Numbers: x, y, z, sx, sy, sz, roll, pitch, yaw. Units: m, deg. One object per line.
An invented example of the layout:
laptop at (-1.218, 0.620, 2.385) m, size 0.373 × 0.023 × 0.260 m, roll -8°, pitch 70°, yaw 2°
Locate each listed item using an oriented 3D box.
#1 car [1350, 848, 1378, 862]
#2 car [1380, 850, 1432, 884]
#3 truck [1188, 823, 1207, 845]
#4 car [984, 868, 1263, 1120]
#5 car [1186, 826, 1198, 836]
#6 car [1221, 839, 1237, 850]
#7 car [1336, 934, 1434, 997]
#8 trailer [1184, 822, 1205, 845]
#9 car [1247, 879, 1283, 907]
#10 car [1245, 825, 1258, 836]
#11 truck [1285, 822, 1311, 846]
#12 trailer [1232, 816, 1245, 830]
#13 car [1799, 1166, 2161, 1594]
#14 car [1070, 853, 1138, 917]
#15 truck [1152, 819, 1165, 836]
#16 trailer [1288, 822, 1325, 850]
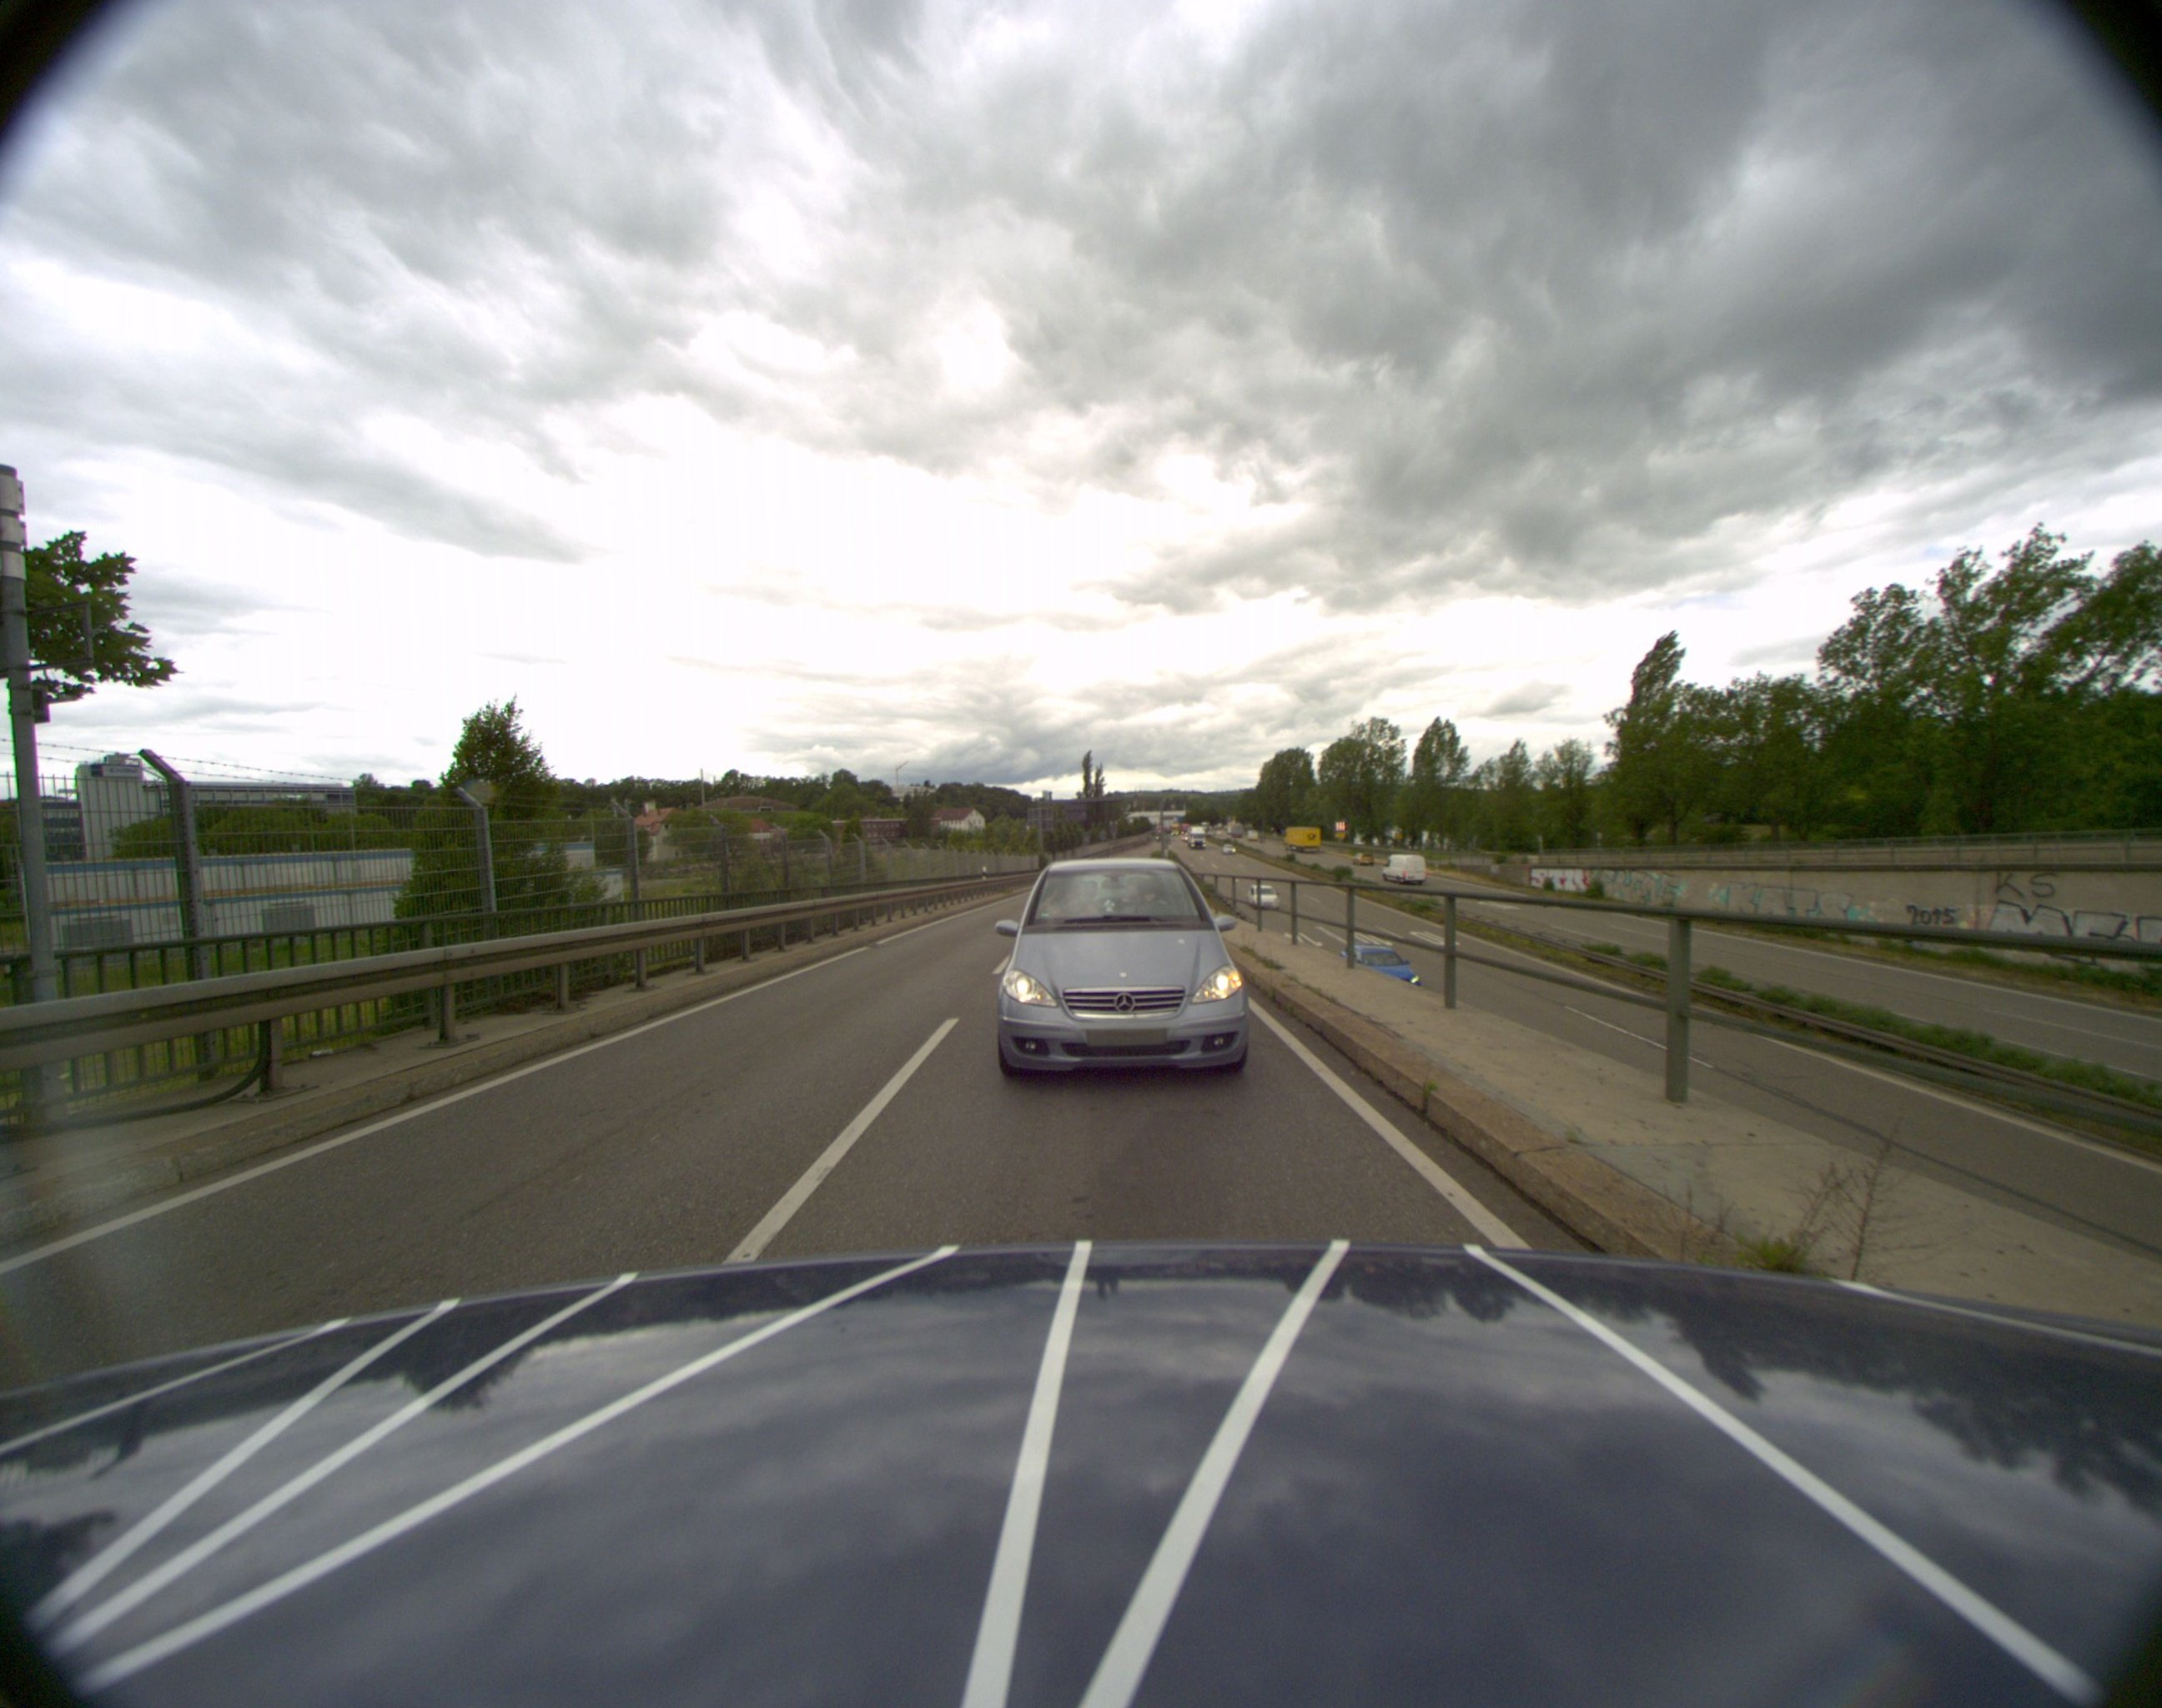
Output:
car at (34.246, 0.136, 92.085) m, size 1.872 × 1.449 × 4.151 m, roll -1°, pitch 3°, yaw 1°
car at (29.169, 1.085, 68.400) m, size 2.172 × 2.580 × 6.099 m, roll -1°, pitch 3°, yaw 1°
truck at (21.624, -3.752, 140.919) m, size 3.010 × 4.087 × 5.872 m, roll 0°, pitch 3°, yaw 4°
car at (0.299, 0.922, 6.784) m, size 1.743 × 1.534 × 3.993 m, roll -1°, pitch 0°, yaw 1°
car at (27.010, -5.536, 184.940) m, size 2.104 × 2.231 × 6.498 m, roll 0°, pitch 3°, yaw 3°
car at (23.735, -1.579, 121.734) m, size 1.854 × 1.562 × 4.436 m, roll -1°, pitch 4°, yaw 2°
car at (10.957, 3.997, 27.727) m, size 1.998 × 1.524 × 3.998 m, roll 0°, pitch 3°, yaw 1°
trailer at (22.098, -4.168, 148.479) m, size 3.010 × 4.087 × 13.985 m, roll 0°, pitch 3°, yaw 4°
car at (12.497, 2.630, 51.894) m, size 1.769 × 1.520 × 3.335 m, roll 0°, pitch 3°, yaw 3°
car at (42.597, -5.800, 190.115) m, size 1.998 × 2.614 × 6.711 m, roll 1°, pitch 3°, yaw 3°
truck at (37.736, -3.539, 132.051) m, size 3.247 × 4.159 × 5.803 m, roll 0°, pitch 3°, yaw 5°
trailer at (48.860, -9.724, 235.870) m, size 2.792 × 4.117 × 13.762 m, roll -1°, pitch 3°, yaw 7°
car at (9.777, 4.912, 7.288) m, size 1.998 × 2.003 × 3.999 m, roll 0°, pitch 3°, yaw 3°
car at (0.664, 0.886, 23.057) m, size 1.830 × 1.701 × 4.001 m, roll -2°, pitch -1°, yaw 1°
truck at (19.925, -6.826, 194.945) m, size 3.101 × 3.990 × 8.487 m, roll -1°, pitch 4°, yaw 5°
trailer at (37.114, -3.093, 125.474) m, size 3.247 × 4.239 × 13.678 m, roll 0°, pitch 3°, yaw 5°
